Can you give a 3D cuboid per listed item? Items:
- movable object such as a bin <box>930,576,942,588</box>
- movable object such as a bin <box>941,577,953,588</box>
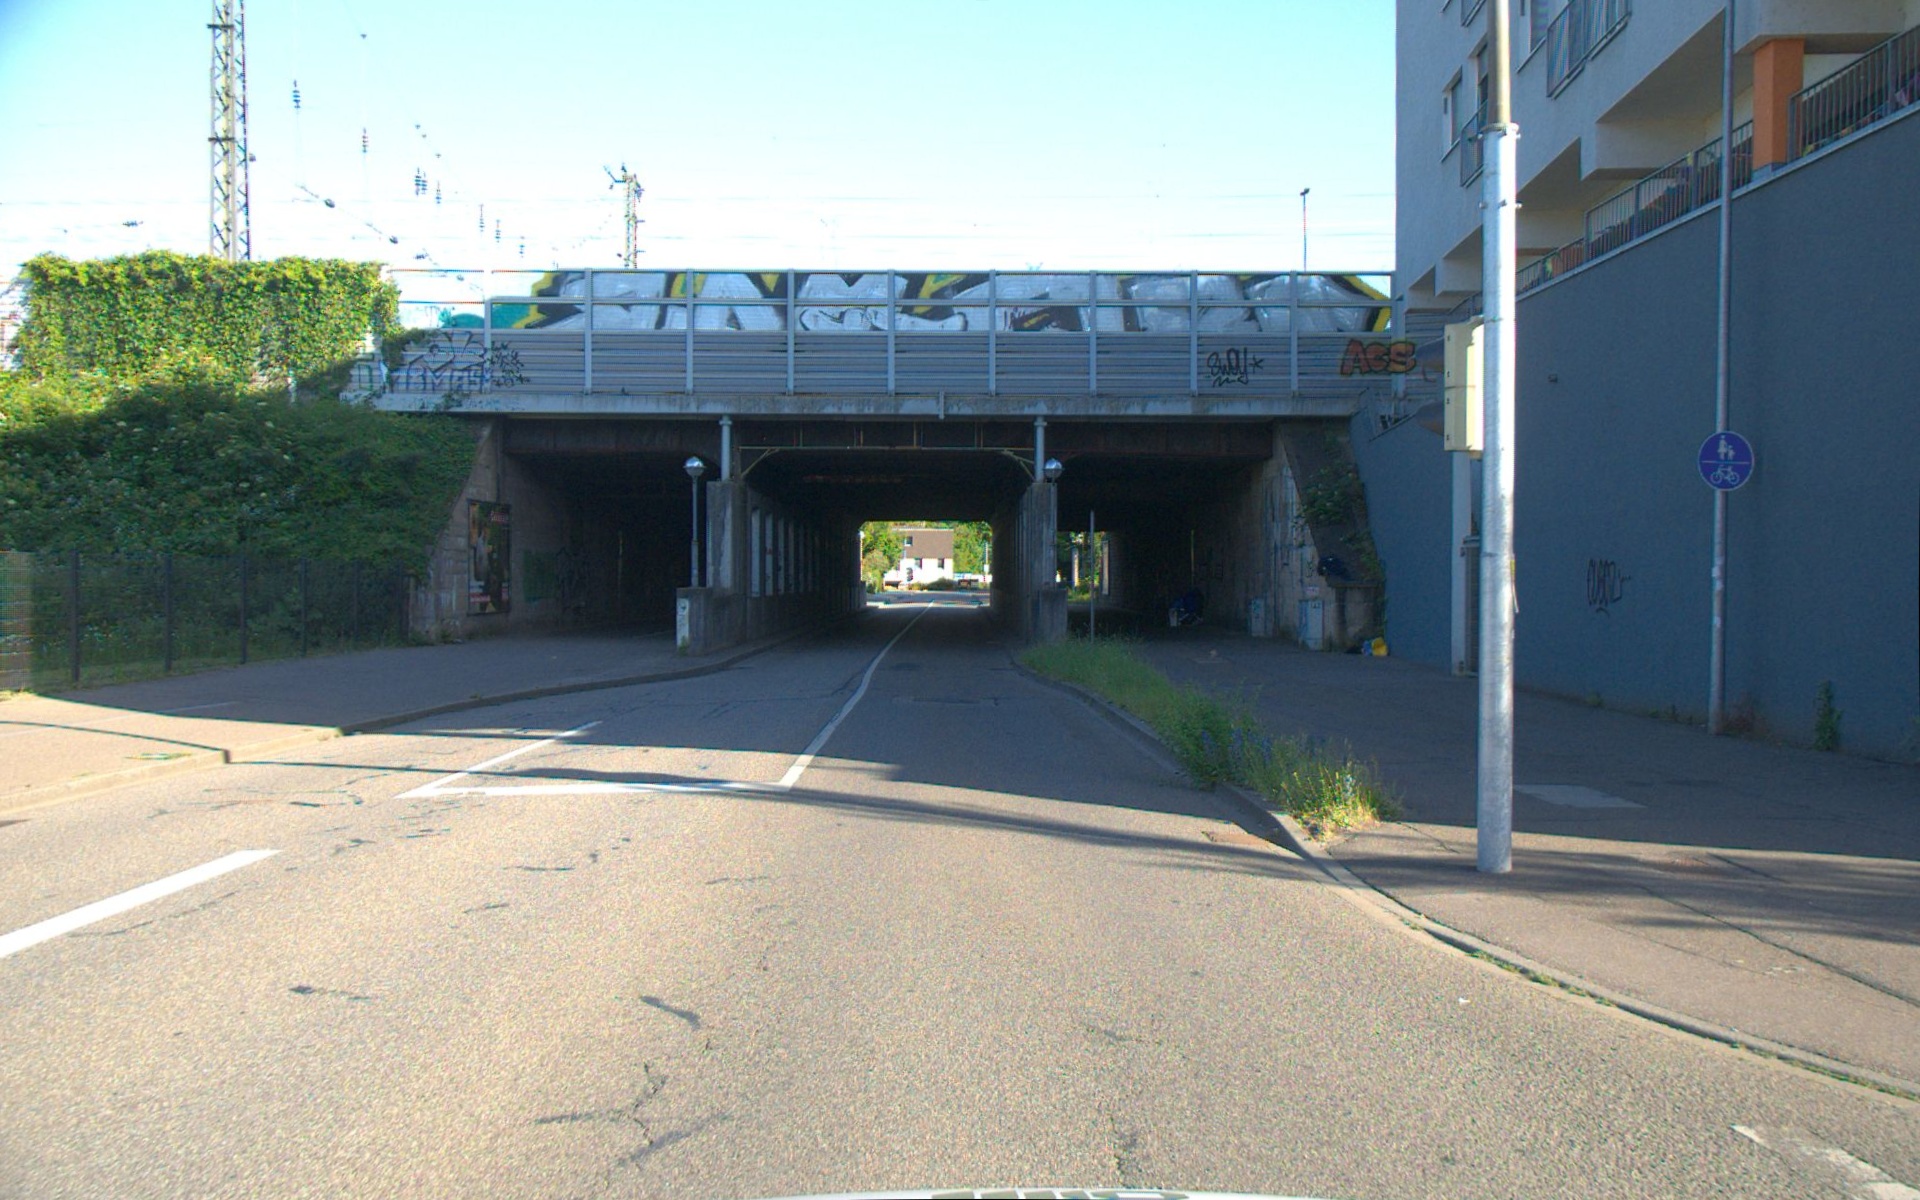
[{"bbox_3d":[-3.057,-2.298,212.477,1.339,1.443,1.064,2,0,-7],"label":"movable object such as a bin"},{"bbox_3d":[-1.690,-2.247,212.684,1.339,1.443,1.064,2,0,-7],"label":"movable object such as a bin"}]
